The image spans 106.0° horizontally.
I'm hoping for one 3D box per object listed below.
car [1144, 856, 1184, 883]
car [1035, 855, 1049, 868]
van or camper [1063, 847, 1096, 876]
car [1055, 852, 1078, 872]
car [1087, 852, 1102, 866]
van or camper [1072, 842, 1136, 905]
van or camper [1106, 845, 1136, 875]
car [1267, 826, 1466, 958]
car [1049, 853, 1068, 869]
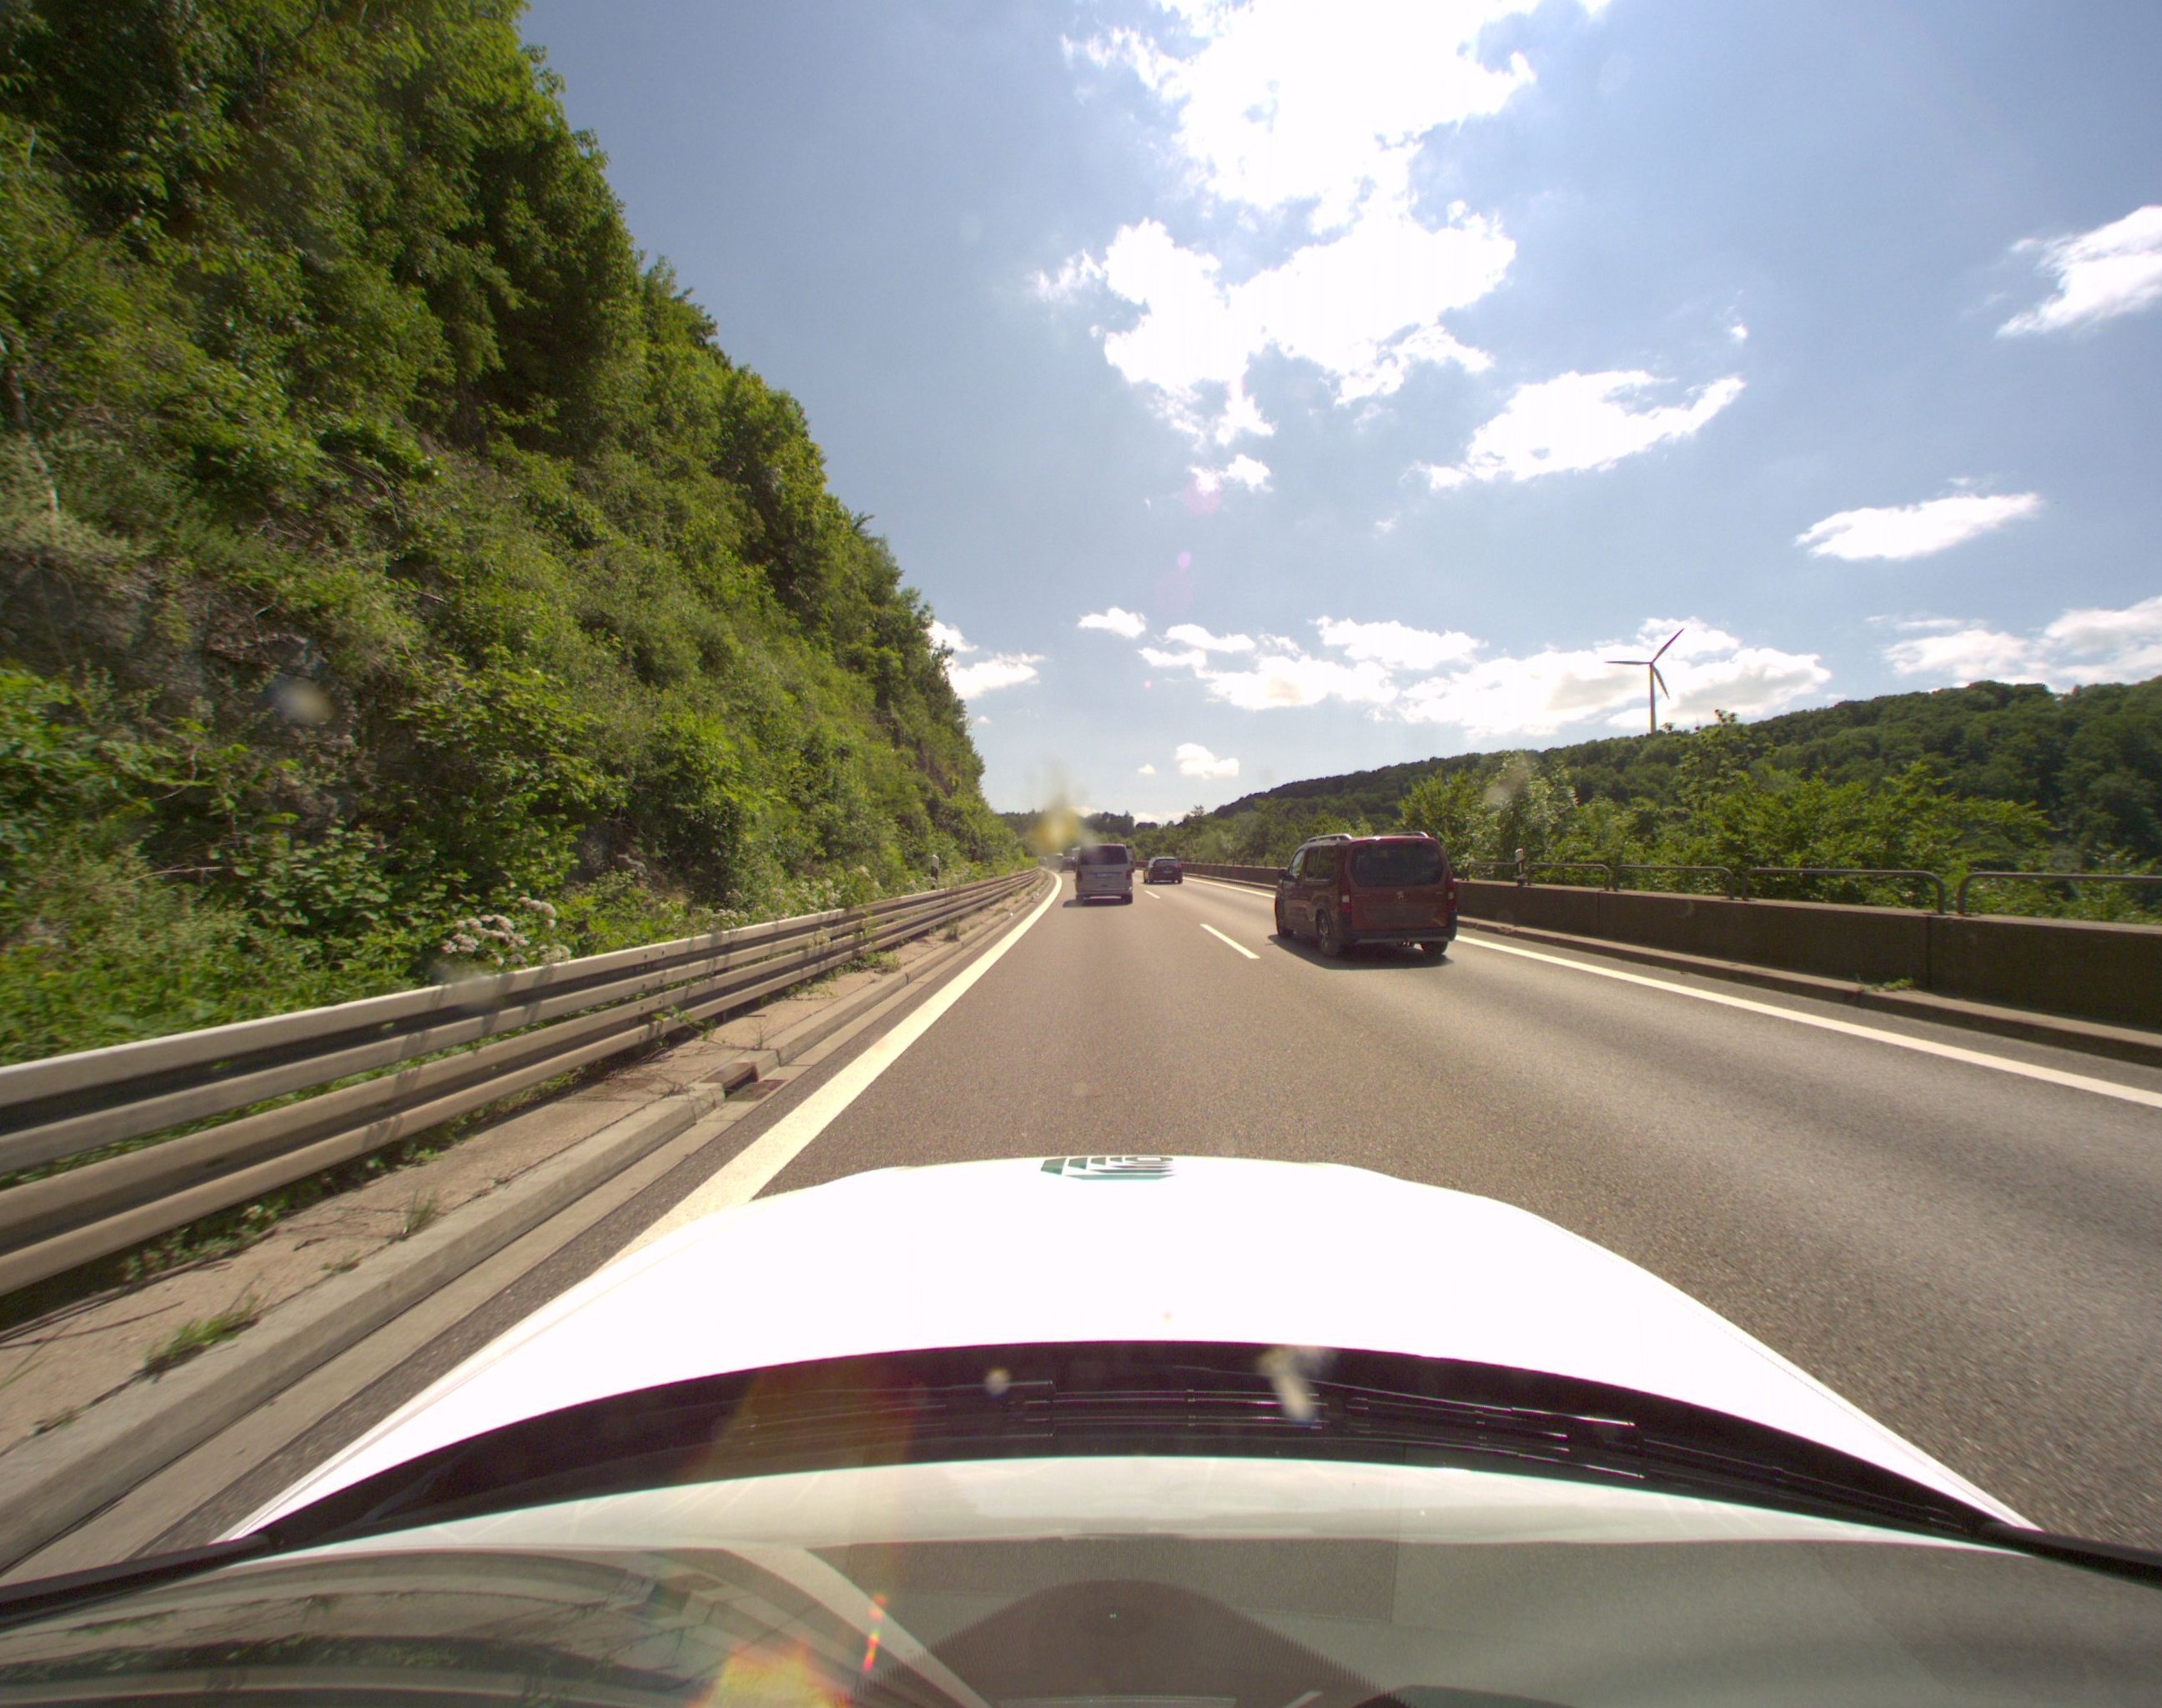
[{"bbox_3d":[4.497,0.824,44.703,1.764,1.376,3.590,-1,0,-1],"label":"car"},{"bbox_3d":[-5.747,1.110,119.414,1.990,1.915,3.992,-1,0,-5],"label":"car"},{"bbox_3d":[-0.284,1.006,113.104,3.276,3.789,8.084,-1,0,-10],"label":"van or camper"},{"bbox_3d":[-1.467,0.773,79.571,1.990,1.817,3.993,-1,0,-5],"label":"car"},{"bbox_3d":[2.104,0.768,126.047,1.990,2.013,3.994,-1,0,-4],"label":"car"},{"bbox_3d":[0.695,0.635,27.847,1.871,1.949,4.290,-2,0,-2],"label":"van or camper"},{"bbox_3d":[3.570,0.542,73.083,2.258,2.551,4.733,-2,-1,-2],"label":"van or camper"},{"bbox_3d":[4.480,0.560,13.603,1.826,1.784,4.678,-1,-1,2],"label":"car"},{"bbox_3d":[-2.595,0.819,95.697,1.986,1.817,4.001,-1,0,1],"label":"car"}]
